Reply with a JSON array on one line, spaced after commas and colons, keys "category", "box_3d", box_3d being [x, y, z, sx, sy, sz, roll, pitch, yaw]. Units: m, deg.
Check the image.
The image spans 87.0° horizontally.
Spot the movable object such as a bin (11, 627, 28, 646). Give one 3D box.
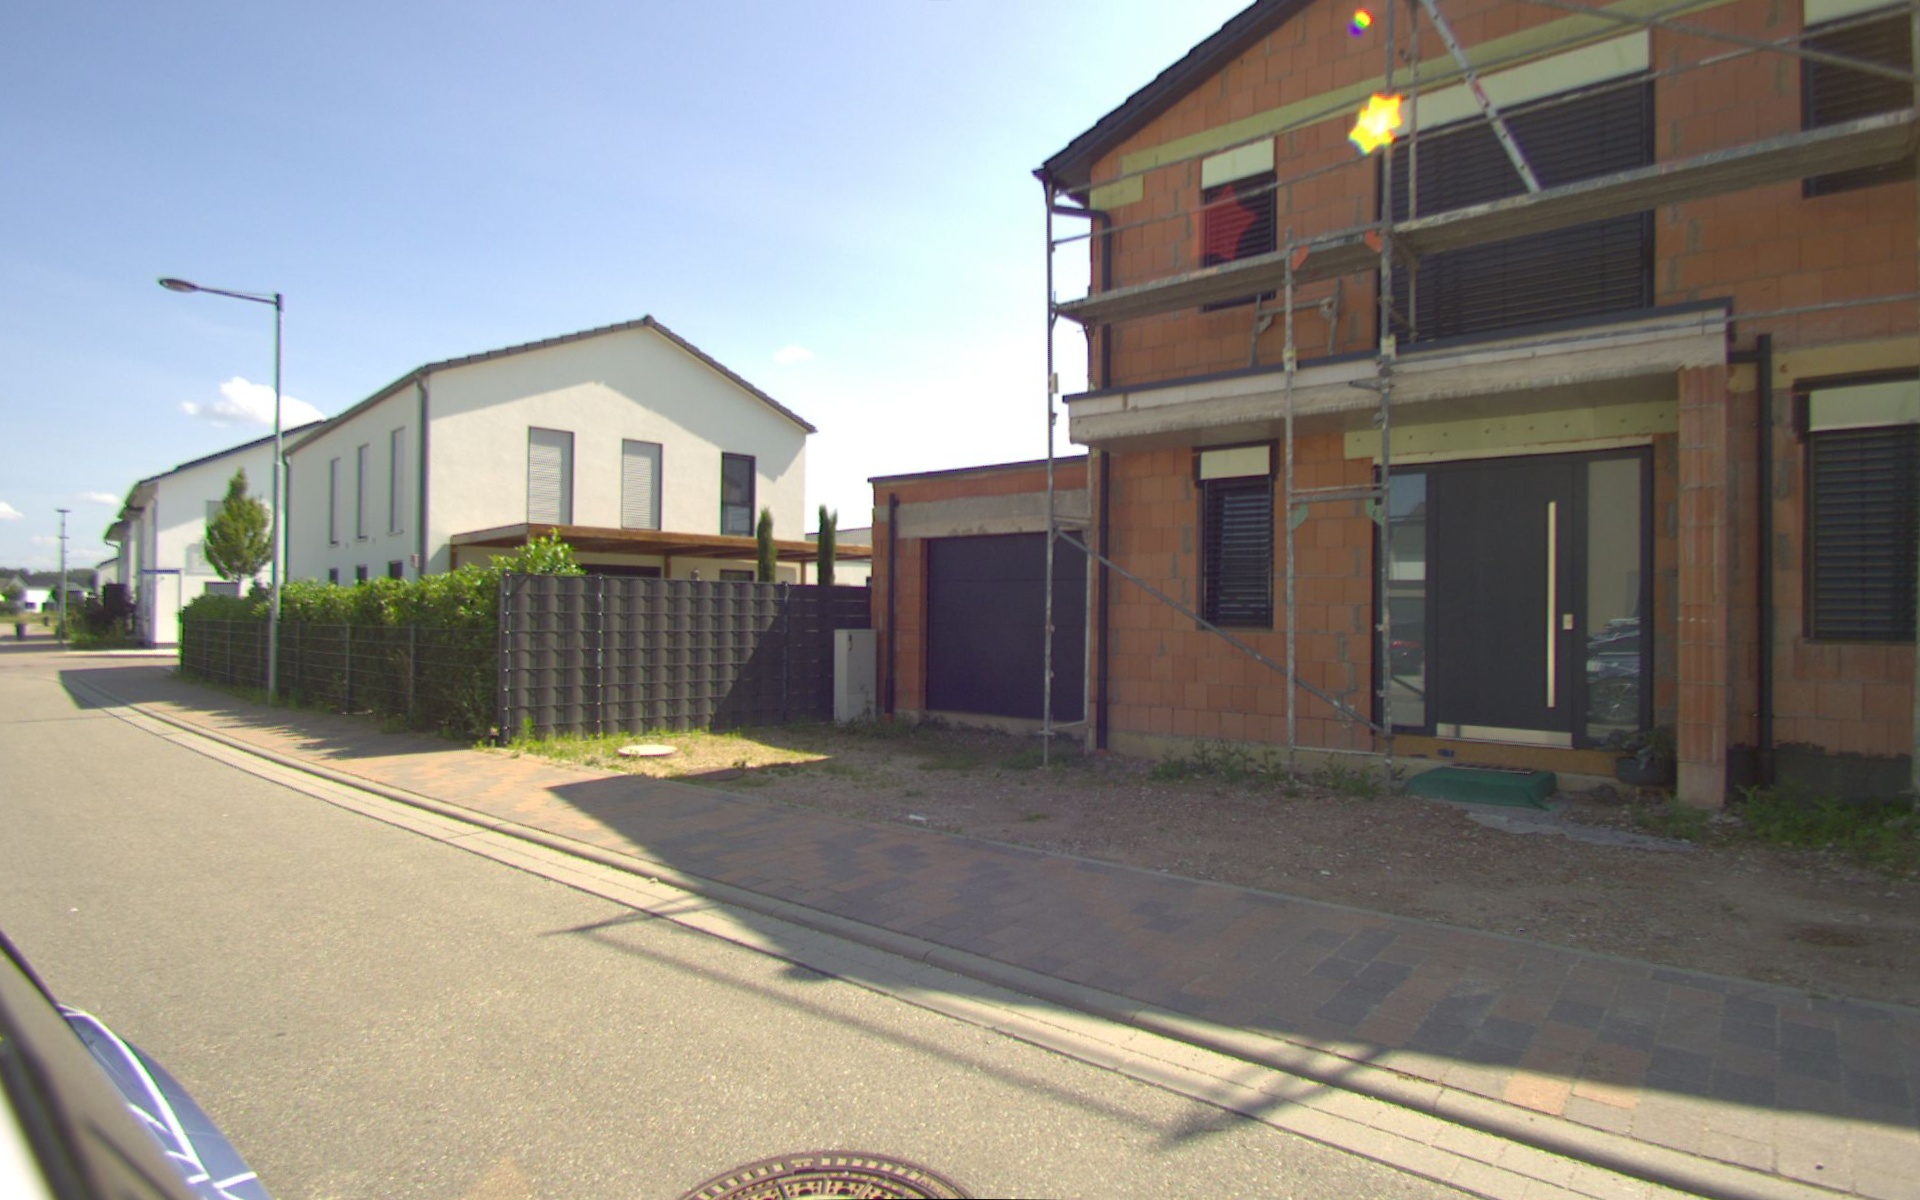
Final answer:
[{"category": "movable object such as a bin", "box_3d": [-46.928, 1.836, 50.517, 0.588, 0.928, 0.462, 1, -2, -41]}]
